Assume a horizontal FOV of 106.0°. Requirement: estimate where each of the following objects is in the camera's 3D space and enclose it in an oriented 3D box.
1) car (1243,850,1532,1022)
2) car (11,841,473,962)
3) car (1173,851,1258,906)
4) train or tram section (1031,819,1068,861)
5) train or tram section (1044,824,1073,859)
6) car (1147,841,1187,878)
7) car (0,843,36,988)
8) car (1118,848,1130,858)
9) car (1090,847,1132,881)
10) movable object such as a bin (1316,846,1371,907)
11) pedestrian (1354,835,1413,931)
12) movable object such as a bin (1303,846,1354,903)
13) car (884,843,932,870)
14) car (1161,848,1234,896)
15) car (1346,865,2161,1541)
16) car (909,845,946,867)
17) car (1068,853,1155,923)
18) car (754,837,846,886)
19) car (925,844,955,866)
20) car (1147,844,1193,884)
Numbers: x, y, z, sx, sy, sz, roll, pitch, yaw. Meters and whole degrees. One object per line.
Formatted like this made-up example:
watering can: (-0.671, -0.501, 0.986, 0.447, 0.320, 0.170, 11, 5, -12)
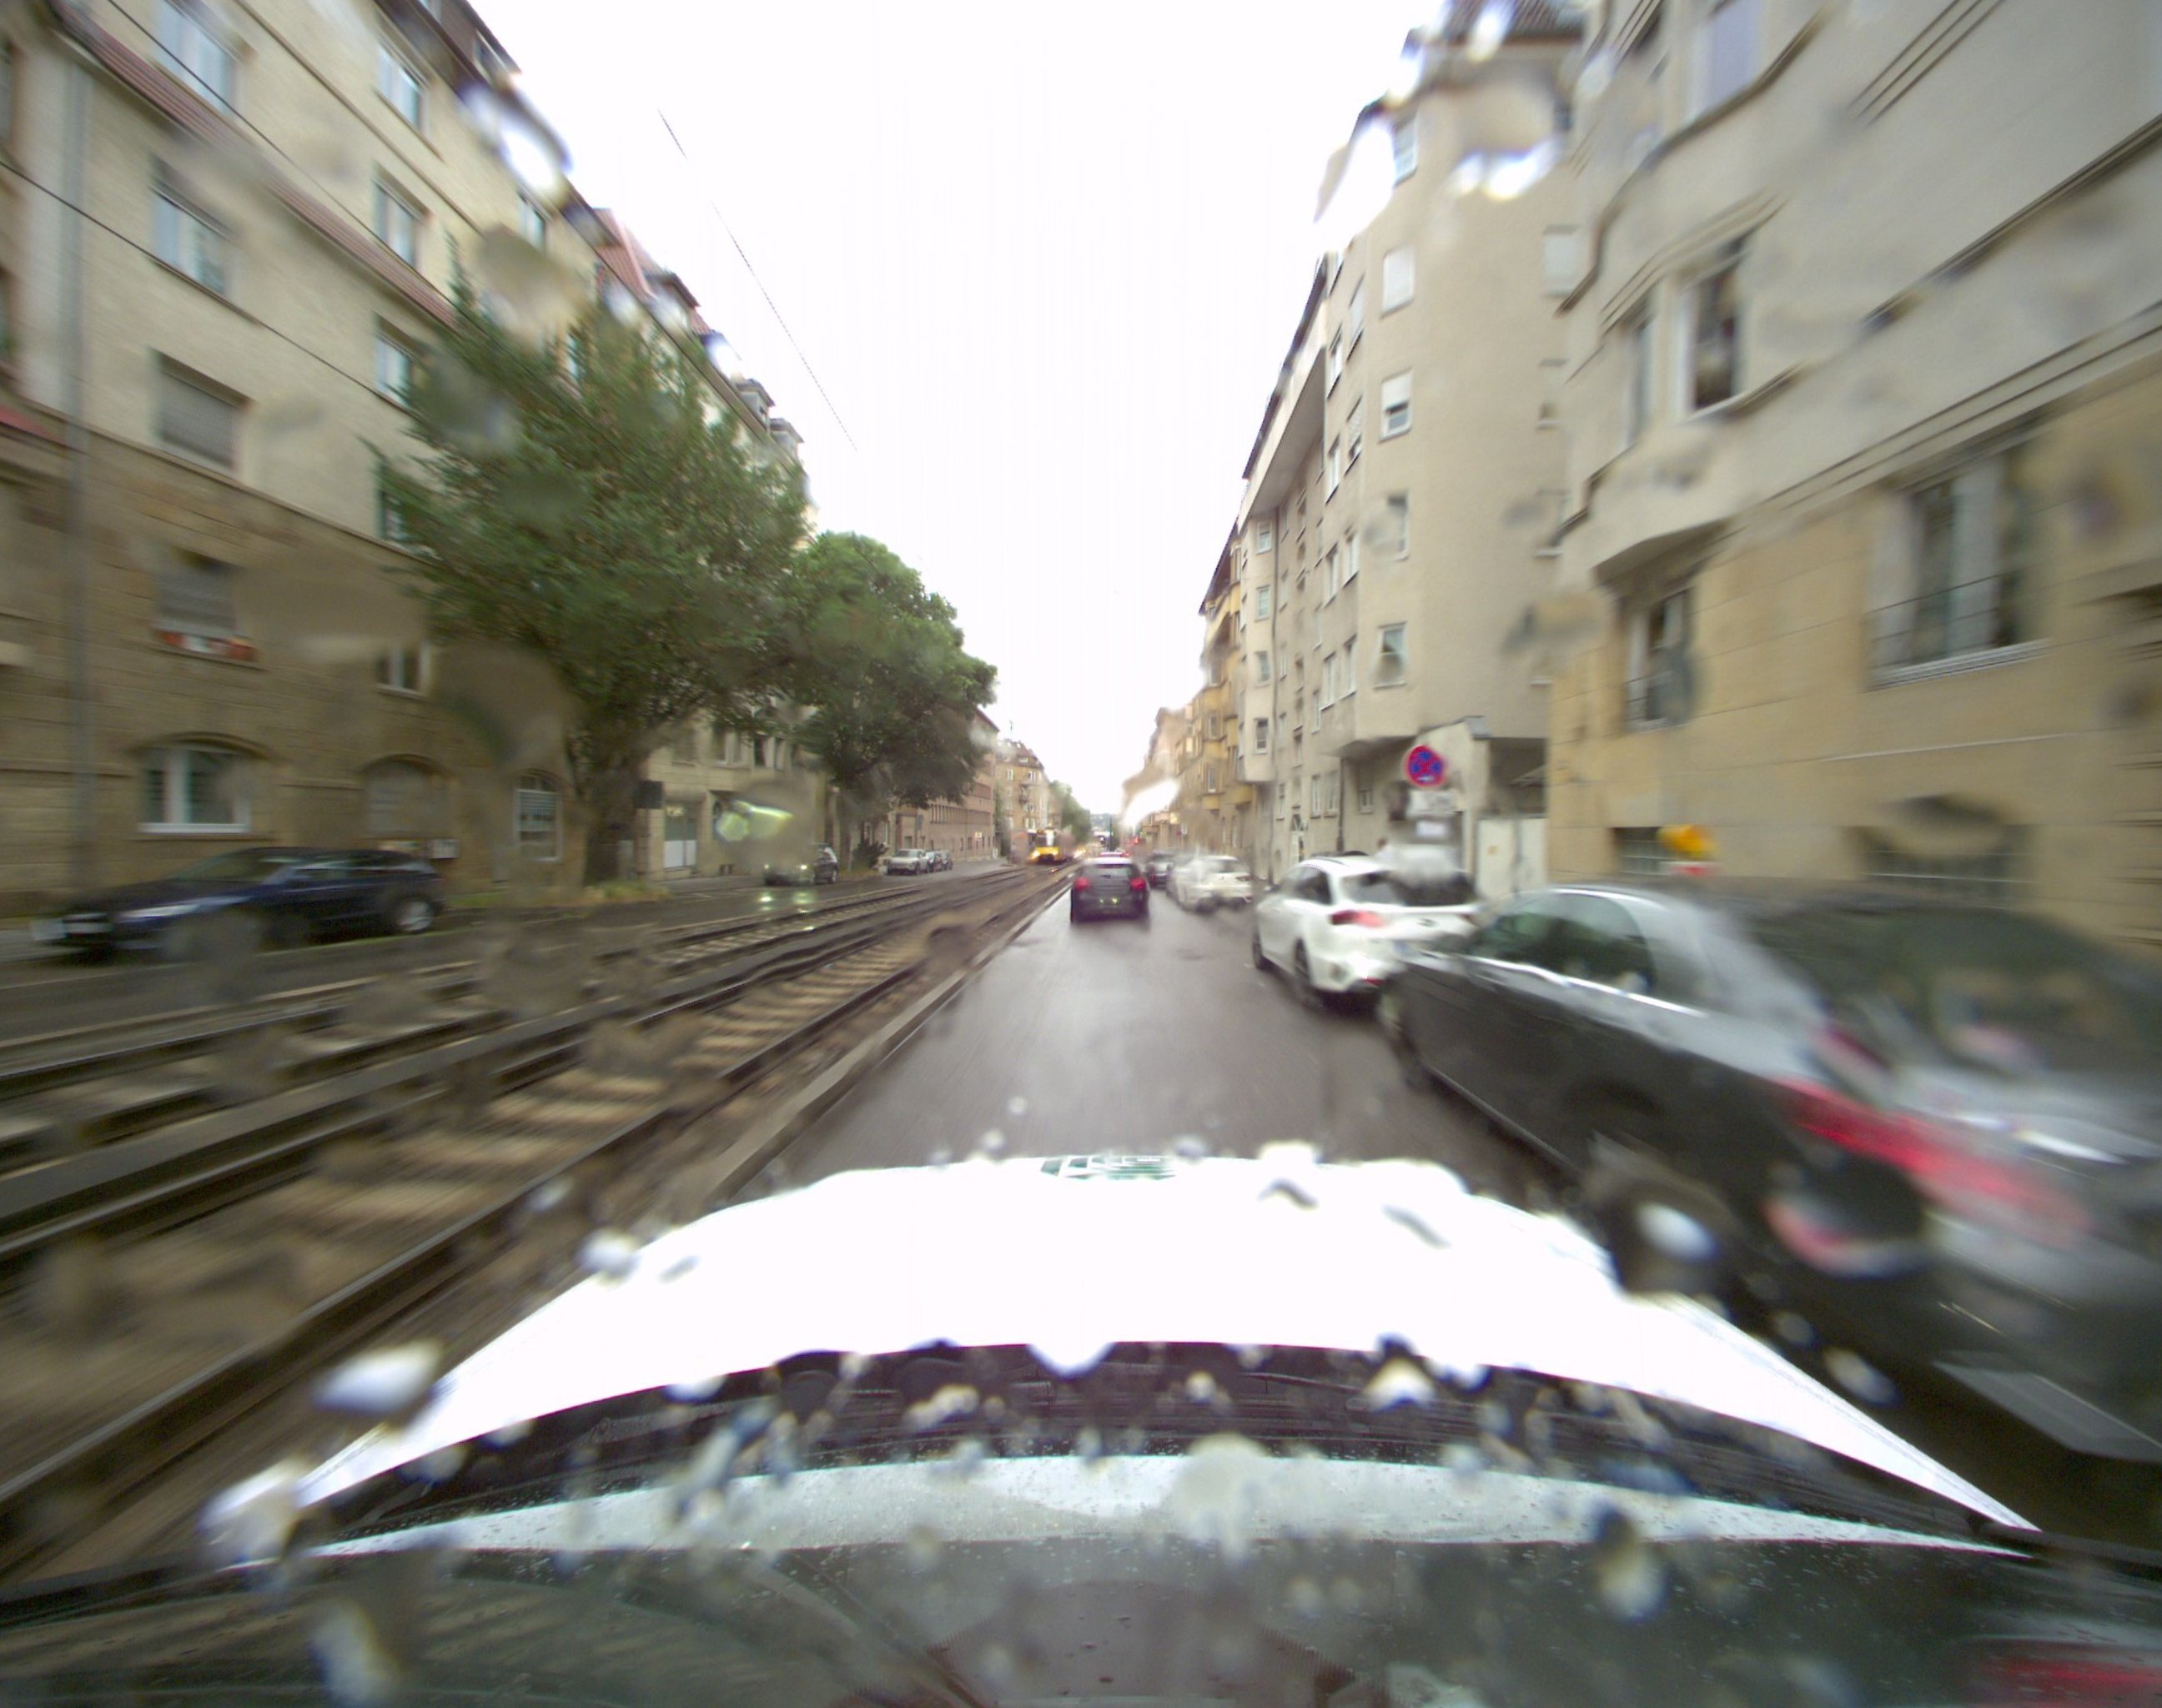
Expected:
car: (3.083, 0.704, 9.331, 1.705, 1.468, 4.777, 0, 0, 3)
car: (-11.984, 0.578, 12.320, 1.775, 1.460, 4.979, 0, 0, 1)
car: (3.617, 0.617, 22.573, 1.782, 1.385, 4.397, 0, 0, 2)
train or tram section: (-3.171, -1.465, 86.959, 2.735, 4.061, 17.220, 0, 1, 2)
train or tram section: (-2.730, -1.561, 103.170, 2.735, 4.061, 15.667, 0, 1, 2)
car: (4.289, 0.284, 41.224, 1.771, 1.750, 4.552, 0, 0, 3)
car: (-12.245, 0.644, 6.766, 1.684, 1.529, 4.176, 0, 0, 1)
car: (7.052, -0.139, 134.180, 1.879, 1.525, 4.250, 1, 0, 4)
car: (1.504, 0.464, 40.532, 1.986, 1.525, 4.248, 1, 0, 2)
movable object such as a bin: (6.512, 0.535, 20.268, 0.976, 1.468, 1.273, 0, 0, 2)
pedestrian: (5.427, 0.513, 14.635, 0.801, 1.687, 0.754, 0, 0, 1)
movable object such as a bin: (6.596, 0.540, 21.763, 1.014, 1.468, 1.323, 0, 0, 2)
car: (-10.672, 0.117, 50.540, 1.954, 1.605, 4.330, 1, 1, 1)
car: (3.802, 0.558, 27.242, 1.826, 1.468, 4.375, 0, 0, 0)
car: (2.830, 0.783, 4.149, 1.703, 1.410, 4.822, 0, 0, 4)
car: (-10.438, 0.131, 55.597, 1.660, 1.415, 3.689, 1, 1, 2)
car: (0.729, 0.714, 19.065, 1.827, 1.453, 3.904, 0, 0, 2)
car: (-11.334, 0.232, 33.275, 1.946, 1.741, 4.780, 3, 1, 1)
car: (-10.242, 0.054, 59.359, 1.566, 1.466, 3.045, 1, 1, 1)
car: (3.784, 0.424, 35.173, 1.833, 1.608, 4.766, 0, 0, 4)
